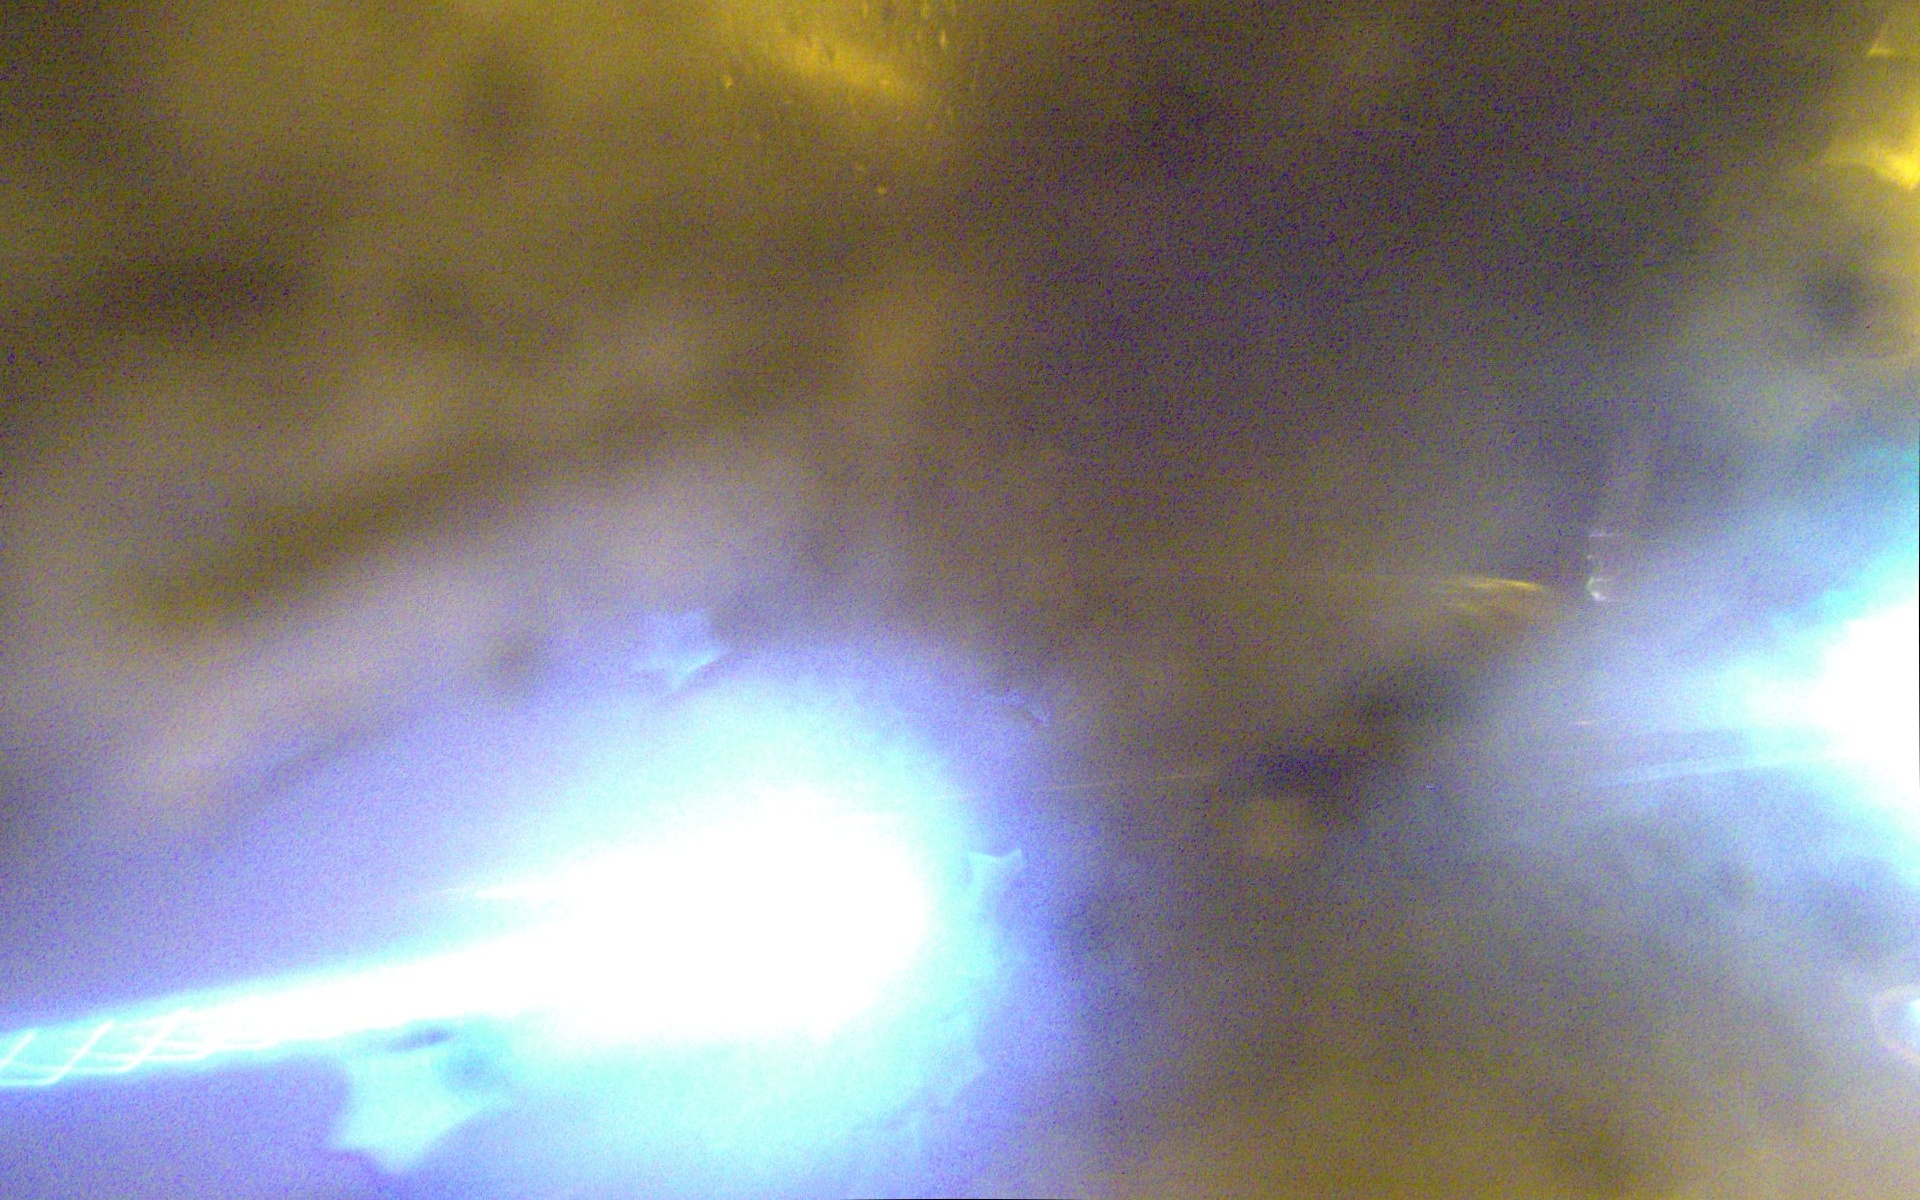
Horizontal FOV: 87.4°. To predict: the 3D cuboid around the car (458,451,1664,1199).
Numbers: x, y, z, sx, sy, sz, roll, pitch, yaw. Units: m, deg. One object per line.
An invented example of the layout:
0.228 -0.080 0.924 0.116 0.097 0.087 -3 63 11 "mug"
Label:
0.533 0.625 3.585 4.078 1.698 1.689 1 -1 -30 "car"
